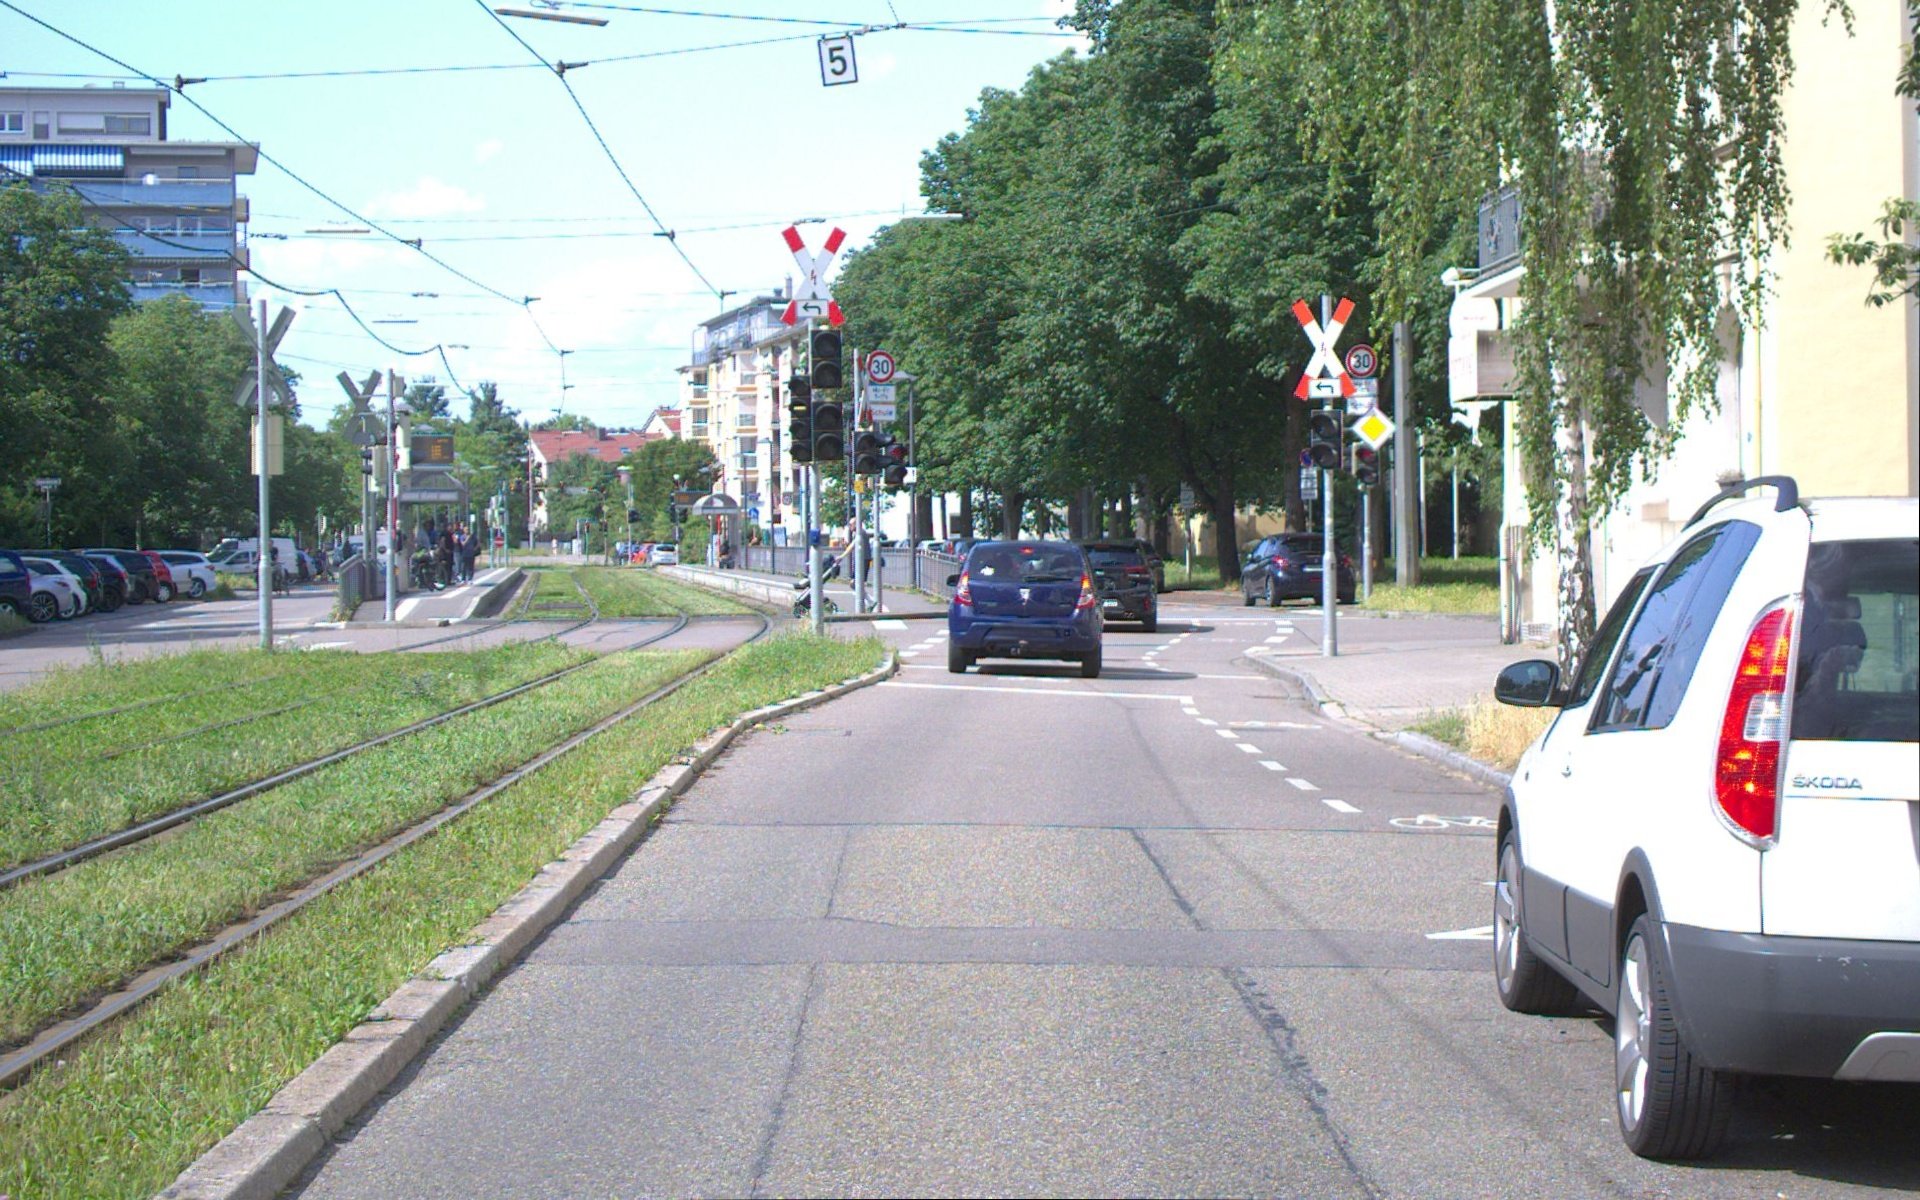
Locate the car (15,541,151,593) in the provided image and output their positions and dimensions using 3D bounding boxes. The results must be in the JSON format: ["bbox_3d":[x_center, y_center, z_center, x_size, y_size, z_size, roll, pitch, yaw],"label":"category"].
[{"bbox_3d":[-23.075,-0.888,90.531,1.455,1.305,3.239,0,2,39],"label":"car"}]

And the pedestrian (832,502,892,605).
[{"bbox_3d":[-1.748,-0.823,61.280,0.870,1.769,1.004,-4,1,-7],"label":"pedestrian"}]

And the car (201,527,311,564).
[{"bbox_3d":[-27.016,-2.095,132.011,1.638,1.381,3.991,0,2,39],"label":"car"}]

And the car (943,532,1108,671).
[{"bbox_3d":[0.750,-0.023,39.303,1.768,1.457,3.775,1,1,1],"label":"car"}]

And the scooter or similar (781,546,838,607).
[{"bbox_3d":[-2.665,-0.427,60.957,0.954,1.061,0.797,0,1,-6],"label":"scooter or similar"}]

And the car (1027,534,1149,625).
[{"bbox_3d":[1.991,-0.347,54.298,1.700,1.363,3.515,0,1,-2],"label":"car"}]

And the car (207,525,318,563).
[{"bbox_3d":[-27.814,-2.235,137.121,3.988,1.442,1.727,-2,2,-40],"label":"car"}]

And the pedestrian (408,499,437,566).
[{"bbox_3d":[-13.813,-1.740,88.354,0.655,1.686,0.656,-1,1,-5],"label":"pedestrian"}]

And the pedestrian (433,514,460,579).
[{"bbox_3d":[-13.967,-1.467,93.540,0.604,1.760,0.639,0,1,3],"label":"pedestrian"}]

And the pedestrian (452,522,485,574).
[{"bbox_3d":[-13.467,-1.424,94.164,0.655,1.421,0.562,-1,1,31],"label":"pedestrian"}]

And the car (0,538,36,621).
[{"bbox_3d":[-20.426,-0.380,67.391,1.725,1.635,4.122,1,2,45],"label":"car"}]

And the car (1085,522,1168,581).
[{"bbox_3d":[4.310,-1.270,89.217,1.861,1.440,4.000,-2,1,-1],"label":"car"}]

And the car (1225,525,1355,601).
[{"bbox_3d":[6.550,-0.763,68.673,1.765,1.428,3.905,-1,1,-7],"label":"car"}]

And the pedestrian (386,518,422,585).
[{"bbox_3d":[-13.261,-1.166,81.991,0.663,1.564,0.686,-2,1,2],"label":"pedestrian"}]

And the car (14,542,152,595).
[{"bbox_3d":[-22.473,-0.826,88.169,1.454,1.305,3.240,0,2,36],"label":"car"}]

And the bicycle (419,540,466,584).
[{"bbox_3d":[-12.303,-0.902,81.801,0.686,0.971,1.771,-3,1,4],"label":"bicycle"}]

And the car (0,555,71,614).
[{"bbox_3d":[-20.823,-0.320,73.144,1.543,1.232,3.380,1,2,45],"label":"car"}]

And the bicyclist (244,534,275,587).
[{"bbox_3d":[-21.331,-1.206,104.712,0.785,1.576,0.864,-1,1,-3],"label":"bicyclist"}]

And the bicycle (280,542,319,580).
[{"bbox_3d":[-21.419,-1.253,111.503,1.153,1.174,1.788,-2,1,-13],"label":"bicycle"}]

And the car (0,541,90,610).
[{"bbox_3d":[-21.268,-0.542,76.420,3.380,1.500,1.543,-2,1,-43],"label":"car"}]

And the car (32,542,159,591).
[{"bbox_3d":[-24.325,-0.958,96.762,1.455,1.305,3.239,0,2,39],"label":"car"}]

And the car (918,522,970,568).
[{"bbox_3d":[-0.623,-2.135,132.690,1.617,1.744,4.001,-1,1,-5],"label":"car"}]

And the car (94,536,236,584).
[{"bbox_3d":[-24.686,-1.255,106.847,1.715,1.363,3.990,0,2,43],"label":"car"}]

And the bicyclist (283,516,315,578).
[{"bbox_3d":[-21.446,-1.716,111.458,0.947,2.007,1.577,-1,1,-13],"label":"bicyclist"}]

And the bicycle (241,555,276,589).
[{"bbox_3d":[-21.338,-0.857,104.609,0.680,0.967,2.179,-1,1,-2],"label":"bicycle"}]

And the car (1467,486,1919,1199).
[{"bbox_3d":[2.511,0.548,9.572,1.721,1.624,4.000,2,1,2],"label":"car"}]
